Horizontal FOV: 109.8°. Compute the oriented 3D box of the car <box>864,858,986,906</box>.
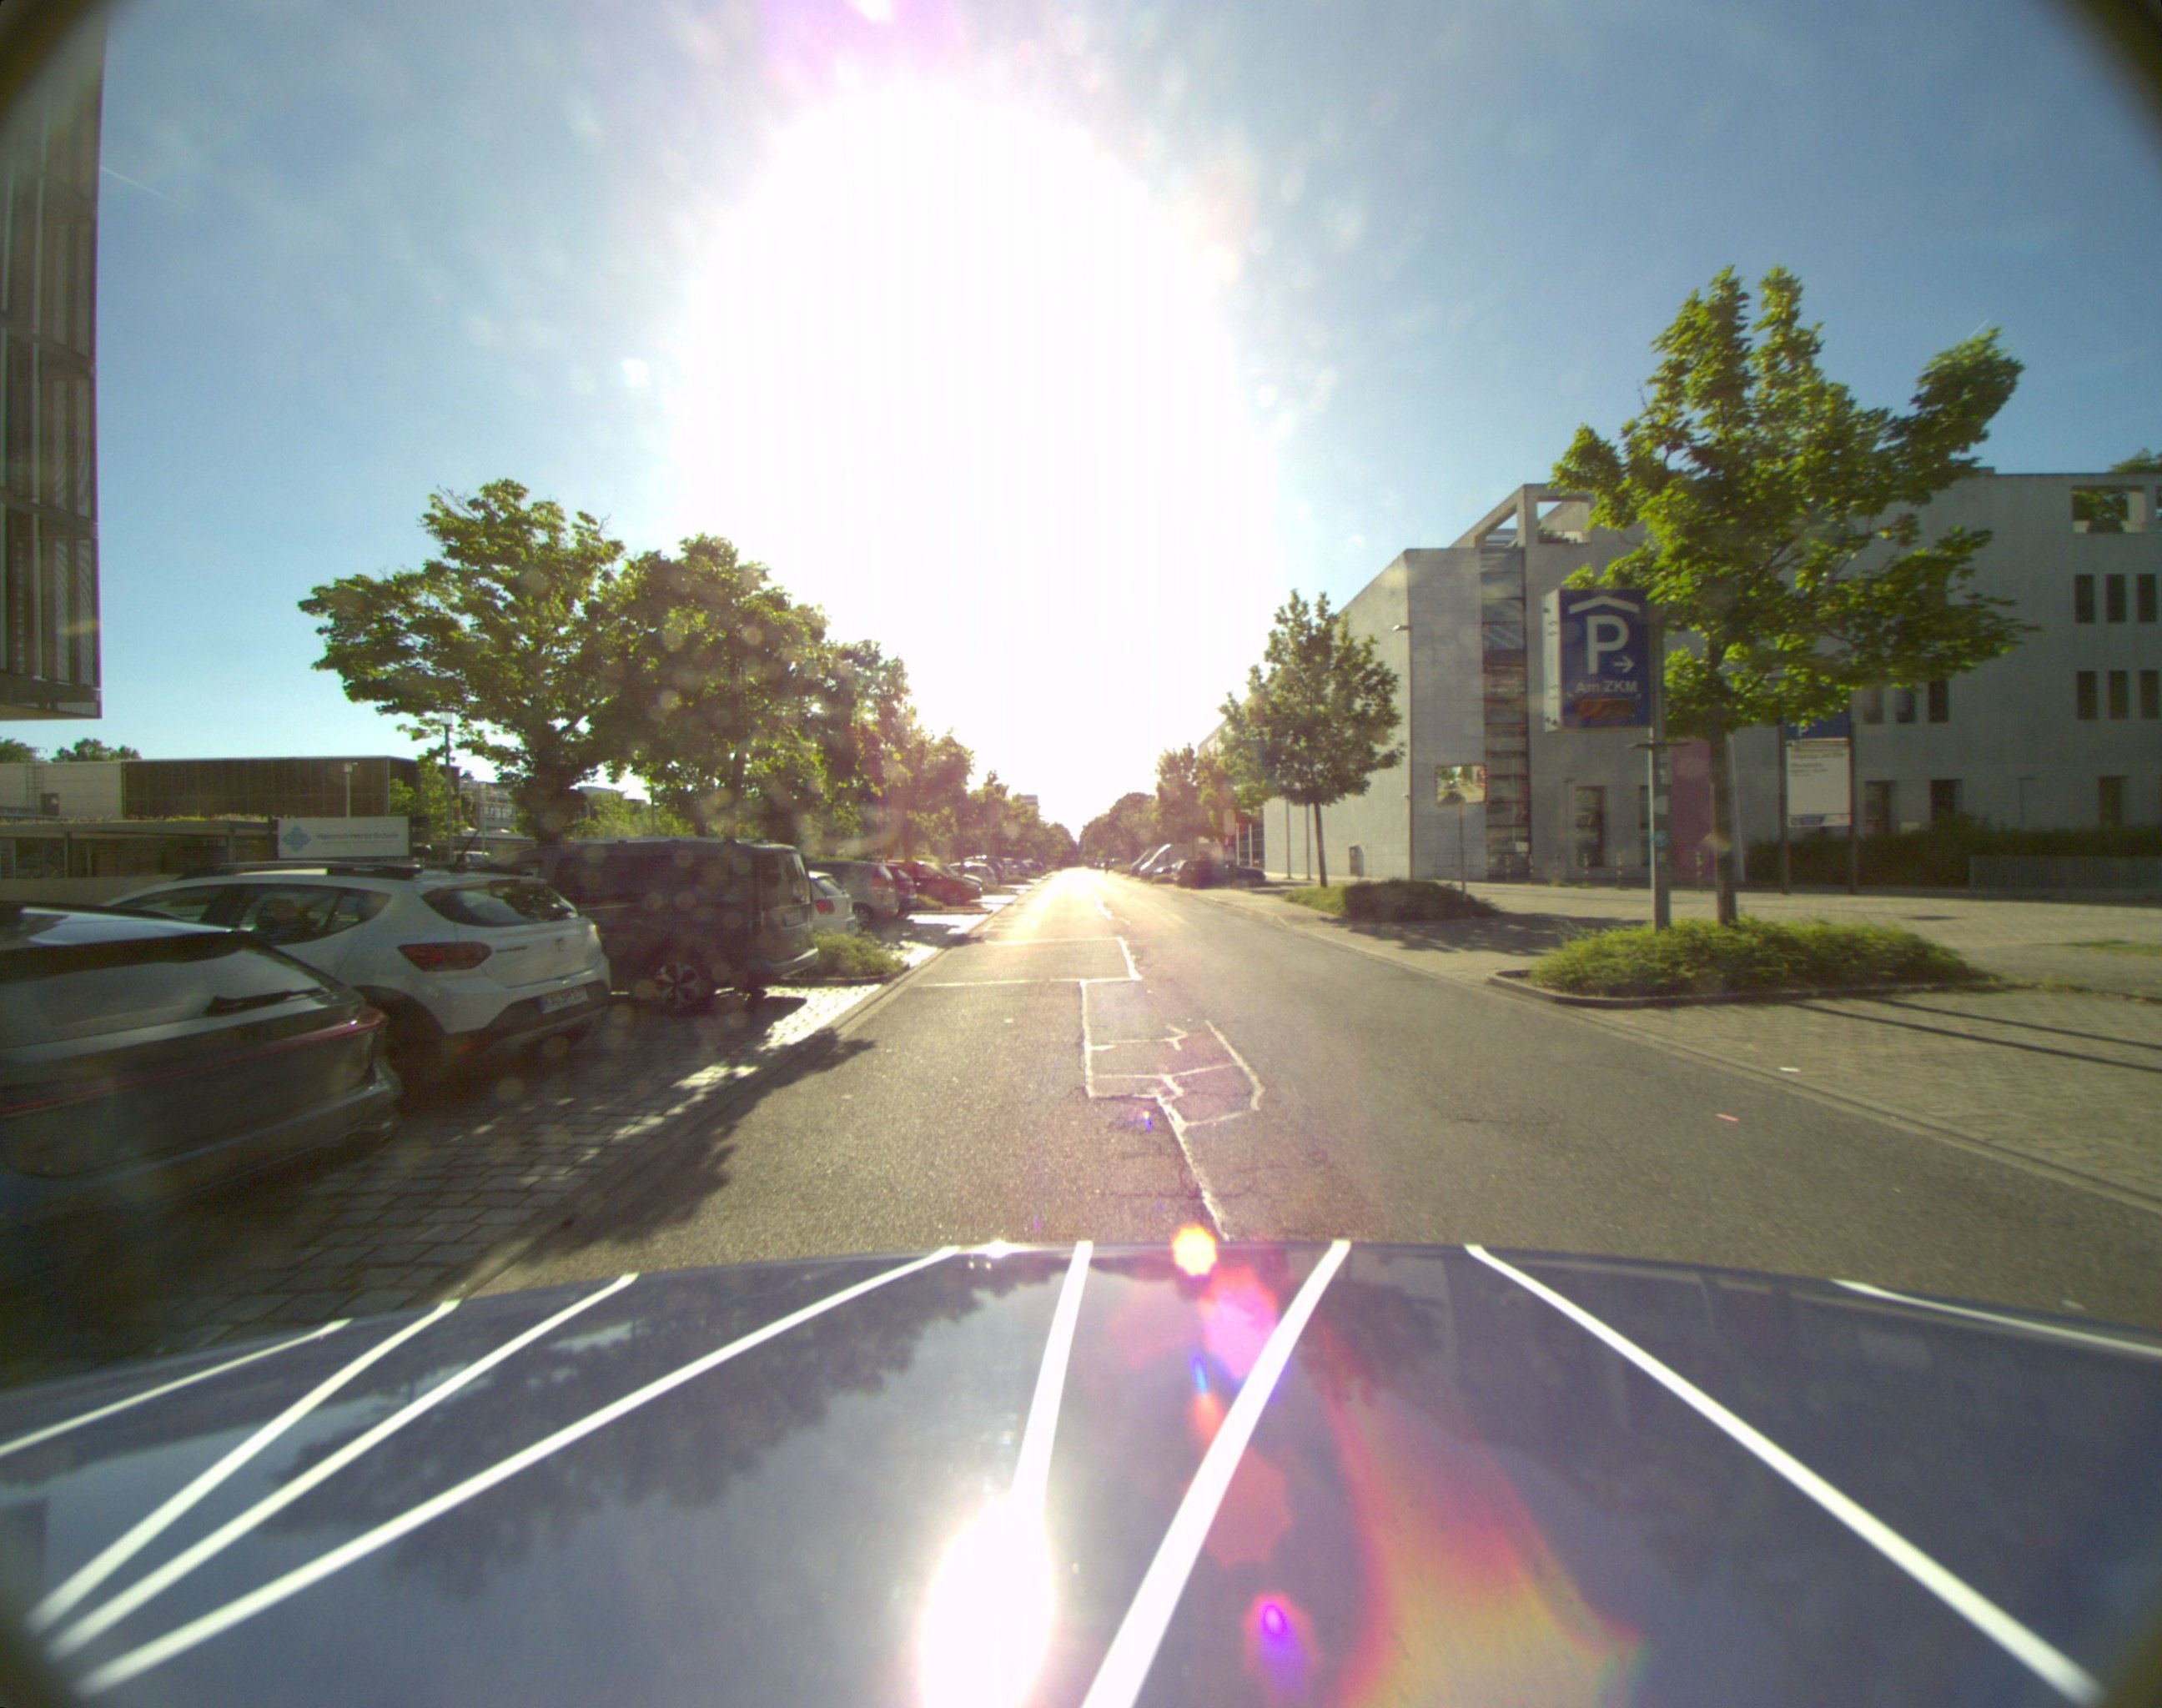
[{"bbox_3d":[-5.415,0.959,26.761,3.962,1.591,1.676,0,0,-2],"label":"car"}]

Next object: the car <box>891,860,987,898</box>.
[{"bbox_3d":[-5.899,1.027,31.847,3.717,1.505,1.676,0,0,-1],"label":"car"}]

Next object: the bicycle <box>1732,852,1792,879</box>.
[{"bbox_3d":[31.201,0.512,34.831,2.262,1.203,0.717,0,0,-5],"label":"bicycle"}]

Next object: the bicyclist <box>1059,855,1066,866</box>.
[{"bbox_3d":[-2.147,0.770,87.703,0.792,1.215,1.063,0,0,1],"label":"bicyclist"}]

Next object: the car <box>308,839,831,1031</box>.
[{"bbox_3d":[-5.352,0.793,8.492,4.413,1.881,2.074,0,0,0],"label":"car"}]

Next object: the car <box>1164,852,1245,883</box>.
[{"bbox_3d":[7.087,0.772,43.948,4.315,1.505,1.693,-3,0,-1],"label":"car"}]

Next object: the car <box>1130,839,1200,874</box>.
[{"bbox_3d":[6.947,0.200,63.331,5.583,2.622,2.010,-3,1,2],"label":"car"}]

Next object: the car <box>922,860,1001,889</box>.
[{"bbox_3d":[-6.044,1.050,38.755,3.761,1.418,1.731,0,0,-1],"label":"car"}]

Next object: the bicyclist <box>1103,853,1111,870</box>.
[{"bbox_3d":[2.614,0.779,75.942,0.792,1.696,1.104,0,0,1],"label":"bicyclist"}]

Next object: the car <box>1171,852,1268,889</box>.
[{"bbox_3d":[6.715,0.769,37.054,4.315,1.505,1.718,-3,0,-1],"label":"car"}]

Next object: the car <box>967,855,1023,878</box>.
[{"bbox_3d":[-5.984,0.857,53.000,3.717,1.516,1.676,0,0,-1],"label":"car"}]

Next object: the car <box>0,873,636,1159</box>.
[{"bbox_3d":[-5.928,0.938,5.298,4.413,1.548,2.074,0,0,0],"label":"car"}]

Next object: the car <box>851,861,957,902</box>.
[{"bbox_3d":[-6.799,1.034,29.424,3.717,1.505,1.676,0,0,-1],"label":"car"}]

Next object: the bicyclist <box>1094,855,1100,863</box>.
[{"bbox_3d":[2.398,0.736,113.574,0.792,1.215,0.823,0,0,1],"label":"bicyclist"}]

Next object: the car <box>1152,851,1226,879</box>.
[{"bbox_3d":[6.812,0.659,48.212,4.315,1.505,1.693,-3,0,-1],"label":"car"}]

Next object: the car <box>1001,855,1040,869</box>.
[{"bbox_3d":[-6.064,0.819,76.372,3.717,1.418,1.676,0,0,-1],"label":"car"}]

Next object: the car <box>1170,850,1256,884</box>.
[{"bbox_3d":[7.190,0.717,41.623,4.315,1.574,1.693,-3,0,-1],"label":"car"}]

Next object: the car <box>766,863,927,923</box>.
[{"bbox_3d":[-6.134,1.004,20.143,3.717,1.505,1.735,0,0,1],"label":"car"}]

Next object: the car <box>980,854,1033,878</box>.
[{"bbox_3d":[-5.394,0.862,55.620,3.717,1.662,1.676,0,0,-1],"label":"car"}]

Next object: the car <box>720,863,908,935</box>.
[{"bbox_3d":[-6.052,0.997,17.512,3.716,1.560,1.676,0,0,2],"label":"car"}]

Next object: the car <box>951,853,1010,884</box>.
[{"bbox_3d":[-6.067,0.856,46.119,3.391,1.877,1.696,0,0,-1],"label":"car"}]

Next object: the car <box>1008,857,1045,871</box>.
[{"bbox_3d":[-5.652,1.065,78.920,3.717,1.418,1.676,0,0,-1],"label":"car"}]

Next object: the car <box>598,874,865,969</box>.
[{"bbox_3d":[-5.650,1.074,12.638,3.652,1.414,1.676,0,0,-1],"label":"car"}]

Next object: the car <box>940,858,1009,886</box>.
[{"bbox_3d":[-6.060,0.999,43.465,3.717,1.557,1.676,0,0,-1],"label":"car"}]

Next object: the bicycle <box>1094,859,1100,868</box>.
[{"bbox_3d":[2.401,1.438,113.524,0.792,1.215,2.263,0,0,1],"label":"bicycle"}]

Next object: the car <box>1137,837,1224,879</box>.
[{"bbox_3d":[6.710,0.288,51.556,5.583,2.468,2.010,-3,1,2],"label":"car"}]

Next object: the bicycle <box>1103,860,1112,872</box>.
[{"bbox_3d":[2.630,1.170,75.930,0.792,1.215,2.263,0,0,1],"label":"bicycle"}]

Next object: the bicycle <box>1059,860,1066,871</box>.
[{"bbox_3d":[-2.141,1.283,87.613,0.792,1.215,2.263,0,0,1],"label":"bicycle"}]

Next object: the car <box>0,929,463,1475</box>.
[{"bbox_3d":[-5.303,1.080,2.744,4.413,1.401,2.074,0,0,0],"label":"car"}]
